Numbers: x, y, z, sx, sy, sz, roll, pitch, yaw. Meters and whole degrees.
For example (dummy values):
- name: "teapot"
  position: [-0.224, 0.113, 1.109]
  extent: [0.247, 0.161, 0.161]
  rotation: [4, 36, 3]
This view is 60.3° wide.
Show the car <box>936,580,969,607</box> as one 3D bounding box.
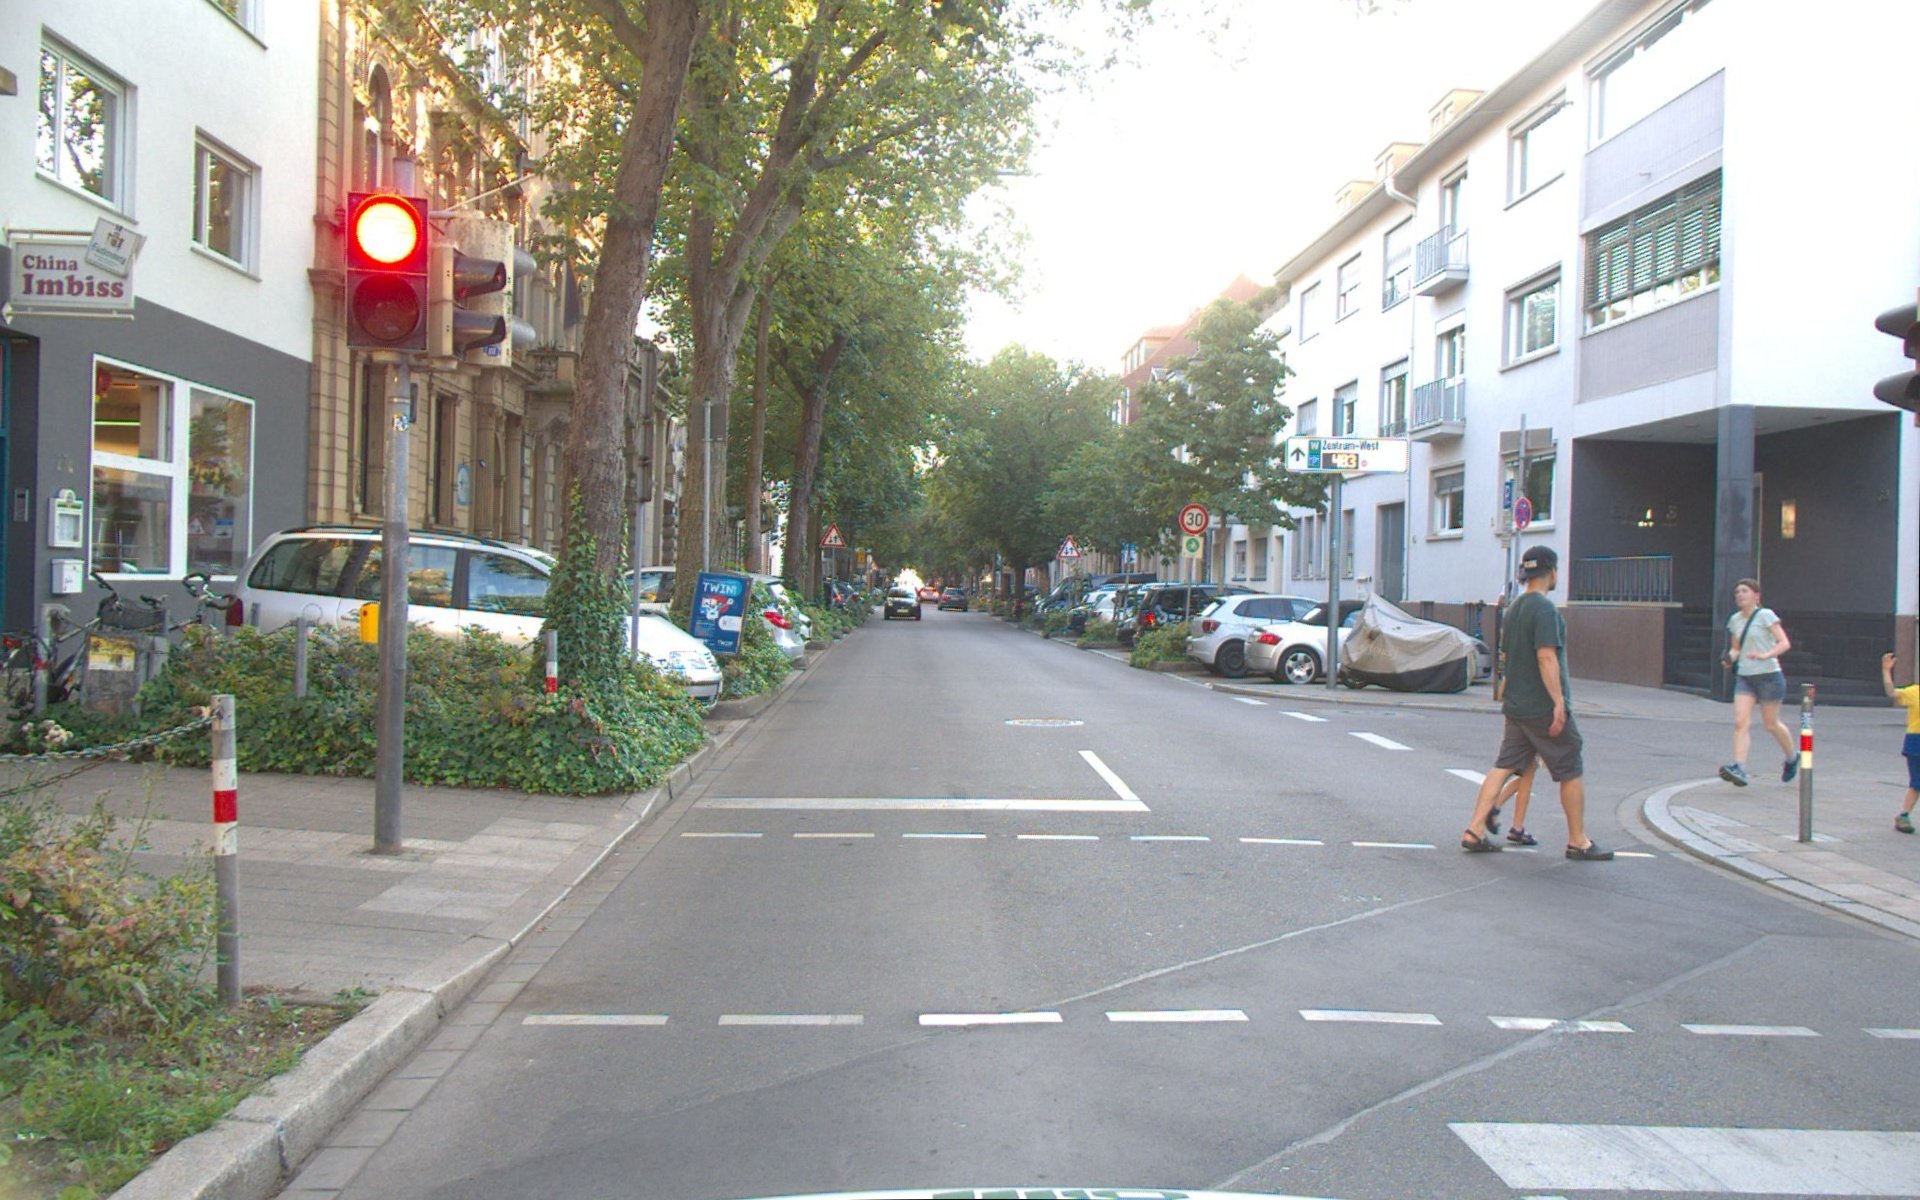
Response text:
- name: "car"
  position: [-0.492, -0.403, 101.970]
  extent: [1.789, 1.588, 4.025]
  rotation: [3, 0, -3]

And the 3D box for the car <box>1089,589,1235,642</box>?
- name: "car"
  position: [5.723, 0.432, 47.139]
  extent: [3.933, 1.434, 1.706]
  rotation: [1, 0, -2]

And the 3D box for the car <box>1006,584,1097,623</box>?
- name: "car"
  position: [4.121, 0.167, 74.525]
  extent: [3.934, 1.629, 1.706]
  rotation: [2, 0, -2]

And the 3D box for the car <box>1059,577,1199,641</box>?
- name: "car"
  position: [5.018, 0.257, 49.417]
  extent: [3.933, 1.847, 1.706]
  rotation: [1, 0, -2]

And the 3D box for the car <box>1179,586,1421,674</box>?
- name: "car"
  position: [6.003, 0.516, 29.464]
  extent: [3.933, 1.467, 1.706]
  rotation: [1, 0, -2]

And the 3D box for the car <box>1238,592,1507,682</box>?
- name: "car"
  position: [6.632, 0.580, 26.844]
  extent: [3.933, 1.366, 1.706]
  rotation: [1, 0, -2]

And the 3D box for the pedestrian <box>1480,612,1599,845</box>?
- name: "pedestrian"
  position: [3.527, 0.768, 10.090]
  extent: [0.528, 1.359, 0.506]
  rotation: [2, 1, 3]

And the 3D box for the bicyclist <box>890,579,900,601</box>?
- name: "bicyclist"
  position: [-4.622, -0.703, 117.692]
  extent: [0.560, 1.495, 0.642]
  rotation: [2, -1, -8]

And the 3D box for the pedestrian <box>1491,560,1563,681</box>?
- name: "pedestrian"
  position: [8.984, 0.311, 26.240]
  extent: [0.751, 1.873, 0.943]
  rotation: [2, 1, -1]

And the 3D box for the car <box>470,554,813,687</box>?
- name: "car"
  position: [-4.367, 0.271, 23.230]
  extent: [4.456, 1.718, 1.833]
  rotation: [1, 0, -2]

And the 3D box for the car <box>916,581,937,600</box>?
- name: "car"
  position: [-3.132, -0.894, 154.710]
  extent: [1.886, 1.689, 3.999]
  rotation: [1, 0, -2]

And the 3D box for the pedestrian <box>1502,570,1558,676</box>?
- name: "pedestrian"
  position: [9.835, 0.390, 28.539]
  extent: [0.689, 1.782, 0.700]
  rotation: [2, 1, 2]

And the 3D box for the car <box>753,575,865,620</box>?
- name: "car"
  position: [-6.199, -0.095, 68.332]
  extent: [4.456, 1.721, 1.833]
  rotation: [1, 0, -2]

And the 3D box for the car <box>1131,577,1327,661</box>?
- name: "car"
  position: [5.790, 0.398, 35.898]
  extent: [3.933, 1.720, 1.706]
  rotation: [1, 0, -2]

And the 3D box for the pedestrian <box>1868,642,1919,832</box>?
- name: "pedestrian"
  position: [6.151, 0.857, 10.505]
  extent: [0.554, 1.140, 0.837]
  rotation: [2, 1, 23]

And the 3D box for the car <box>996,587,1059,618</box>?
- name: "car"
  position: [4.371, 0.172, 107.240]
  extent: [3.934, 1.862, 1.706]
  rotation: [2, 0, -2]

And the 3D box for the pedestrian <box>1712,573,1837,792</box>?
- name: "pedestrian"
  position: [6.236, 0.601, 12.653]
  extent: [0.687, 1.584, 0.977]
  rotation: [2, 1, 34]

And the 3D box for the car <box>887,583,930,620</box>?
- name: "car"
  position: [-2.391, 0.068, 76.569]
  extent: [1.866, 1.605, 3.990]
  rotation: [2, 0, -2]

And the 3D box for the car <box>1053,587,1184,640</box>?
- name: "car"
  position: [4.977, 0.406, 52.273]
  extent: [3.934, 1.556, 1.706]
  rotation: [2, 0, -2]

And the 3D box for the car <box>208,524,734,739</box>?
- name: "car"
  position: [-4.455, 0.285, 15.673]
  extent: [4.459, 1.867, 1.831]
  rotation: [1, 0, -5]

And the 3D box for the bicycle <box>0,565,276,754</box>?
- name: "bicycle"
  position: [-5.935, 0.380, 12.145]
  extent: [0.719, 1.207, 2.634]
  rotation: [3, 0, -1]

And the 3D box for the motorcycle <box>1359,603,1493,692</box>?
- name: "motorcycle"
  position: [6.653, 0.667, 23.662]
  extent: [1.761, 1.220, 0.613]
  rotation: [1, 0, 7]

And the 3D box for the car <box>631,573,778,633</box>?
- name: "car"
  position: [-7.321, 0.082, 47.700]
  extent: [3.957, 1.618, 1.833]
  rotation: [1, 0, -2]

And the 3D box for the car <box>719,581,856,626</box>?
- name: "car"
  position: [-5.797, 0.116, 55.994]
  extent: [4.456, 1.434, 1.833]
  rotation: [1, 0, -2]

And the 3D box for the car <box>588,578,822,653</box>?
- name: "car"
  position: [-5.088, 0.296, 33.498]
  extent: [4.456, 1.396, 1.833]
  rotation: [1, 0, -2]

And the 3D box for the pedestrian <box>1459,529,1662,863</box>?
- name: "pedestrian"
  position: [3.482, 0.530, 9.660]
  extent: [0.870, 1.847, 0.794]
  rotation: [1, 1, 2]

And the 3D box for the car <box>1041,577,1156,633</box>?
- name: "car"
  position: [4.955, 0.176, 59.557]
  extent: [3.934, 1.862, 1.706]
  rotation: [2, 0, -2]
